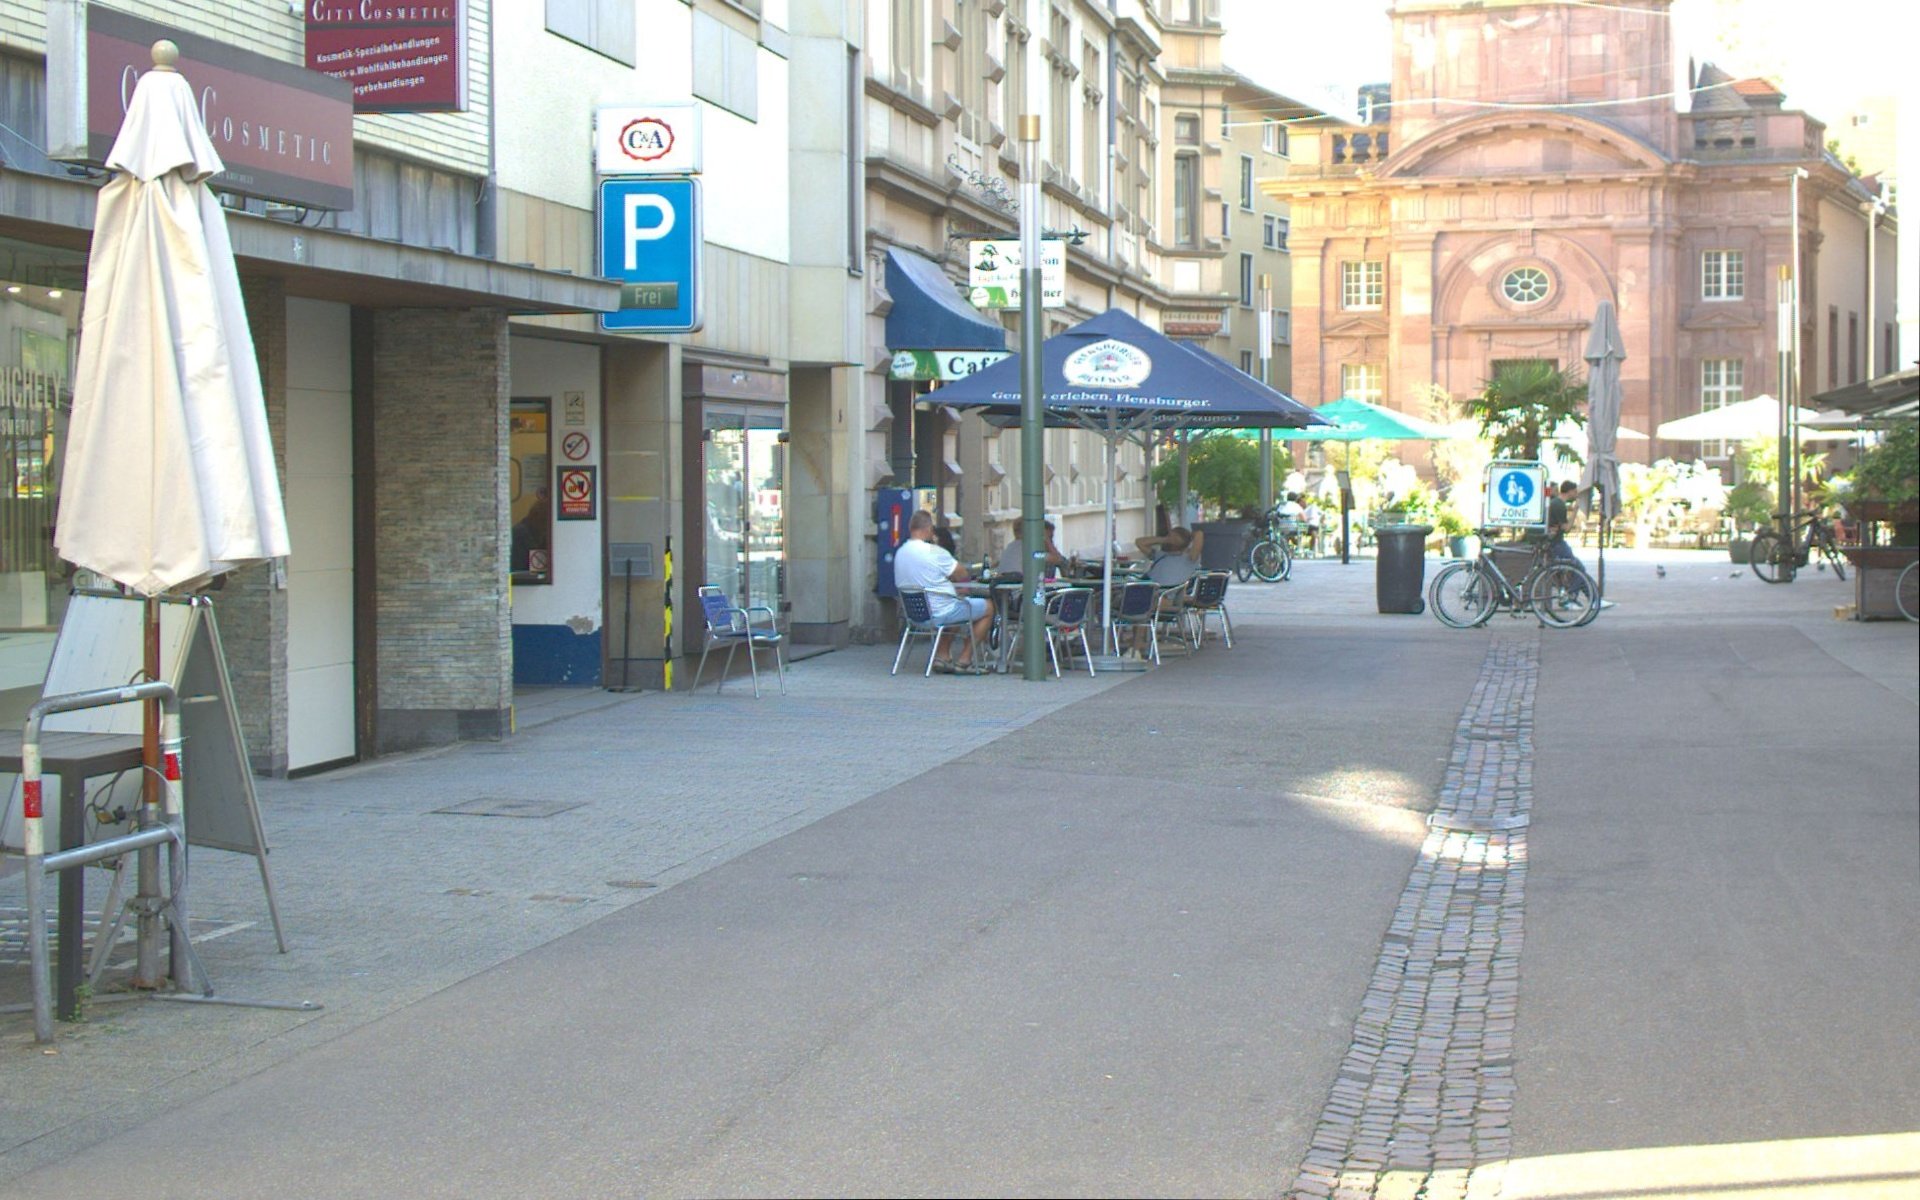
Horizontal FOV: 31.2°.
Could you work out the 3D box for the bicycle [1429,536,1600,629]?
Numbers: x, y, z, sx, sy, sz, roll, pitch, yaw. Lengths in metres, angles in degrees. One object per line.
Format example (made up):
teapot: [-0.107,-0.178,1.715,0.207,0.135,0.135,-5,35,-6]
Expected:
bicycle: [6.028,-0.195,37.419,1.824,1.001,0.381,0,2,7]

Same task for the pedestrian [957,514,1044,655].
pedestrian: [0.366,-0.147,30.608,0.765,1.229,0.831,0,2,2]

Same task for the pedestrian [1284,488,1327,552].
pedestrian: [6.558,-1.523,65.276,0.701,1.213,0.719,1,2,16]

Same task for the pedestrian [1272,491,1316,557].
pedestrian: [6.214,-1.413,63.887,0.701,1.213,0.719,1,2,16]

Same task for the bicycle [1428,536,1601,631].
bicycle: [5.966,-0.181,37.039,1.824,1.001,0.381,0,2,7]

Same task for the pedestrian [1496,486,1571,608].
pedestrian: [6.940,-0.647,41.581,0.884,1.459,0.730,0,2,10]

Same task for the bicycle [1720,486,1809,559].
bicycle: [14.490,-1.404,61.915,1.585,1.303,0.366,-1,2,-19]

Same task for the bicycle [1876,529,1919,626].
bicycle: [10.360,-0.236,35.995,1.464,1.001,0.572,1,2,17]

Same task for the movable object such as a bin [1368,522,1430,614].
movable object such as a bin: [5.194,-0.381,40.629,0.721,1.071,0.374,0,2,9]

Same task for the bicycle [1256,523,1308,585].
bicycle: [4.672,-0.672,49.782,0.457,0.847,2.145,0,2,13]

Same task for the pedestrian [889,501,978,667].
pedestrian: [-0.228,-0.139,28.694,0.717,1.363,0.710,0,2,-2]

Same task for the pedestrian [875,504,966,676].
pedestrian: [-0.323,-0.090,27.742,0.708,1.363,0.720,0,2,-2]

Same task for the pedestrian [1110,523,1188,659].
pedestrian: [1.705,-0.086,31.086,0.692,1.211,0.583,0,2,2]
